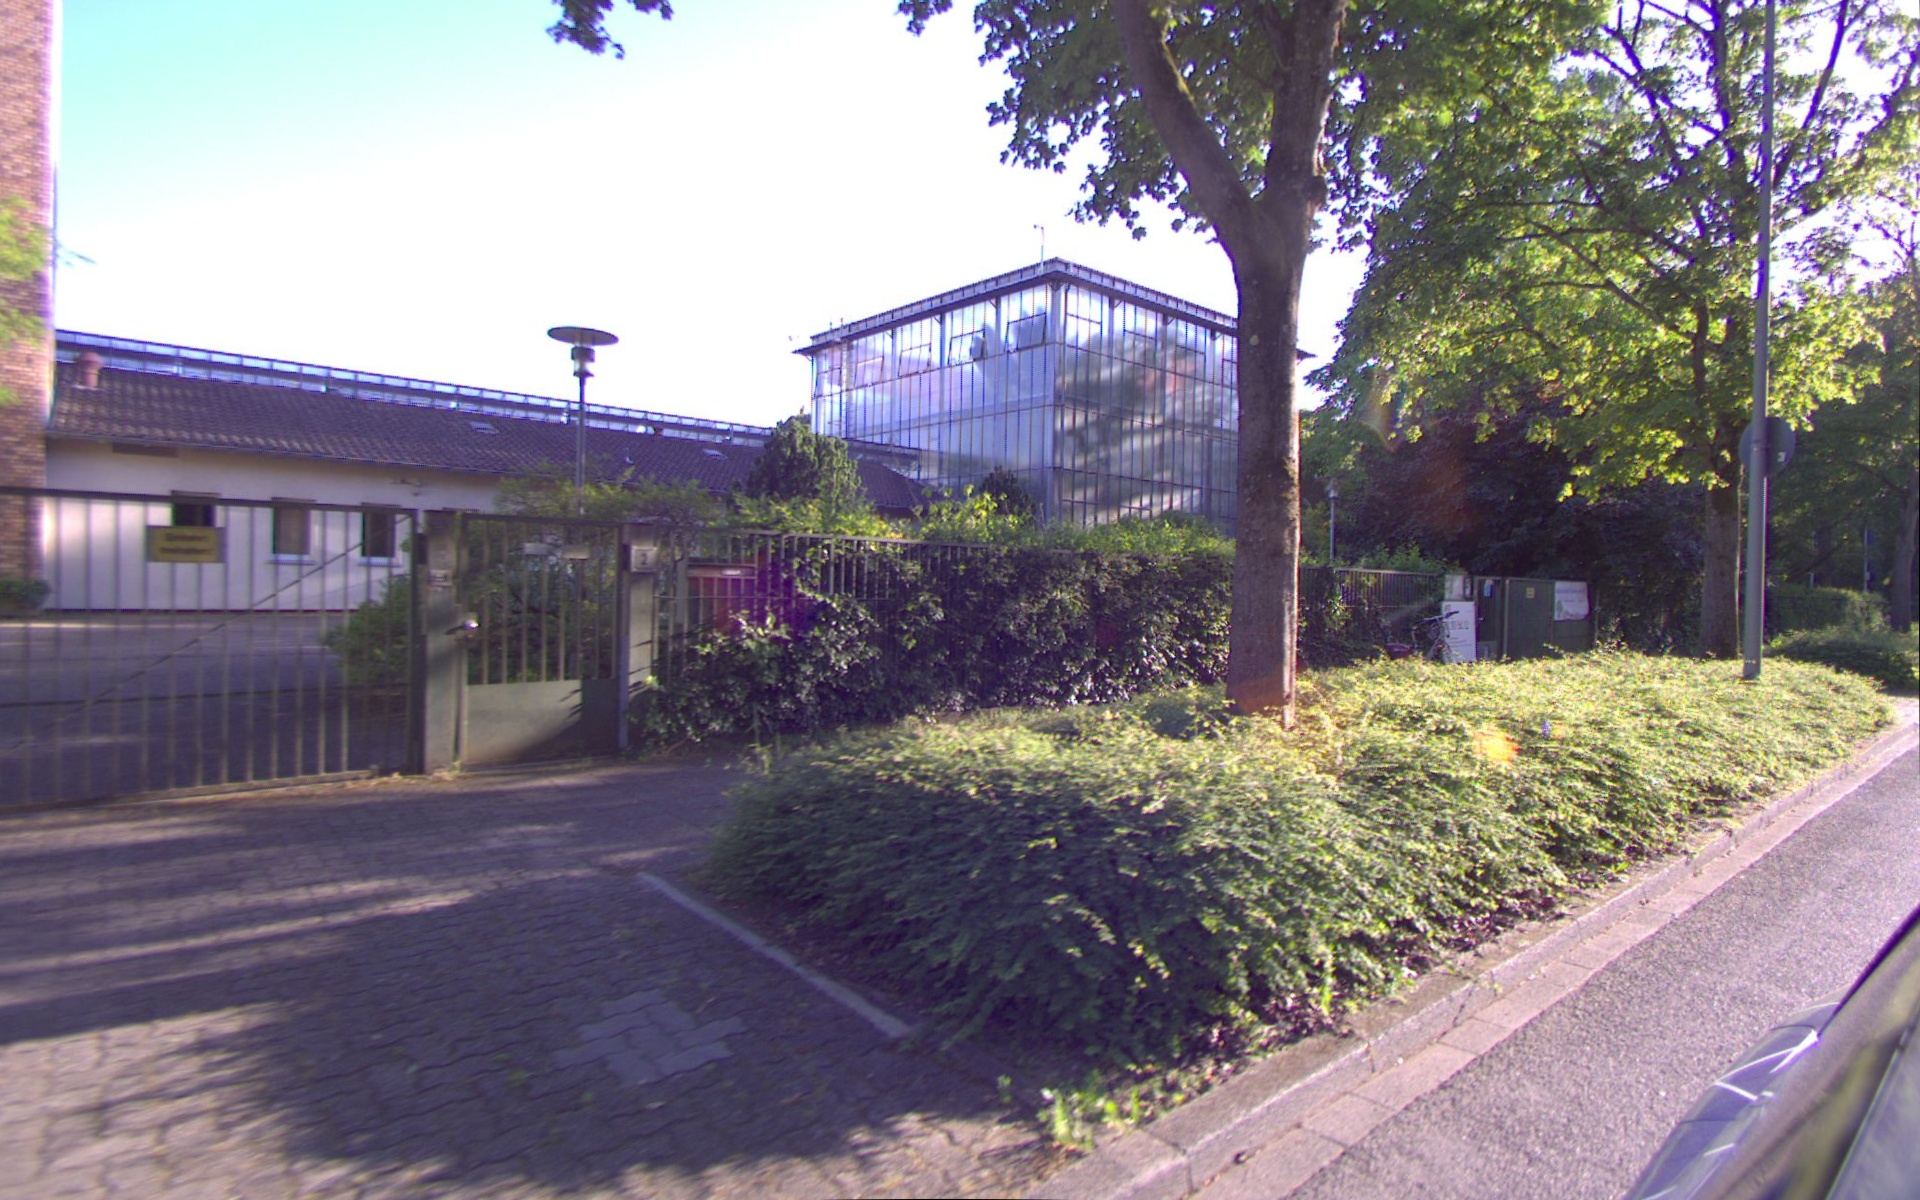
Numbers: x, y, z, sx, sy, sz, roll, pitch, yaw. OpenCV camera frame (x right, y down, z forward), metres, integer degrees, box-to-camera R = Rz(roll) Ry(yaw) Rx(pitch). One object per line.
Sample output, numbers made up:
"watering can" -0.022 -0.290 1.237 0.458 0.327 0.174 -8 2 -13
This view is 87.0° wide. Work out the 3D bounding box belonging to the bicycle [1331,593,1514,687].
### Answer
"bicycle" 6.541 0.561 14.342 2.277 1.215 0.889 2 2 -16
